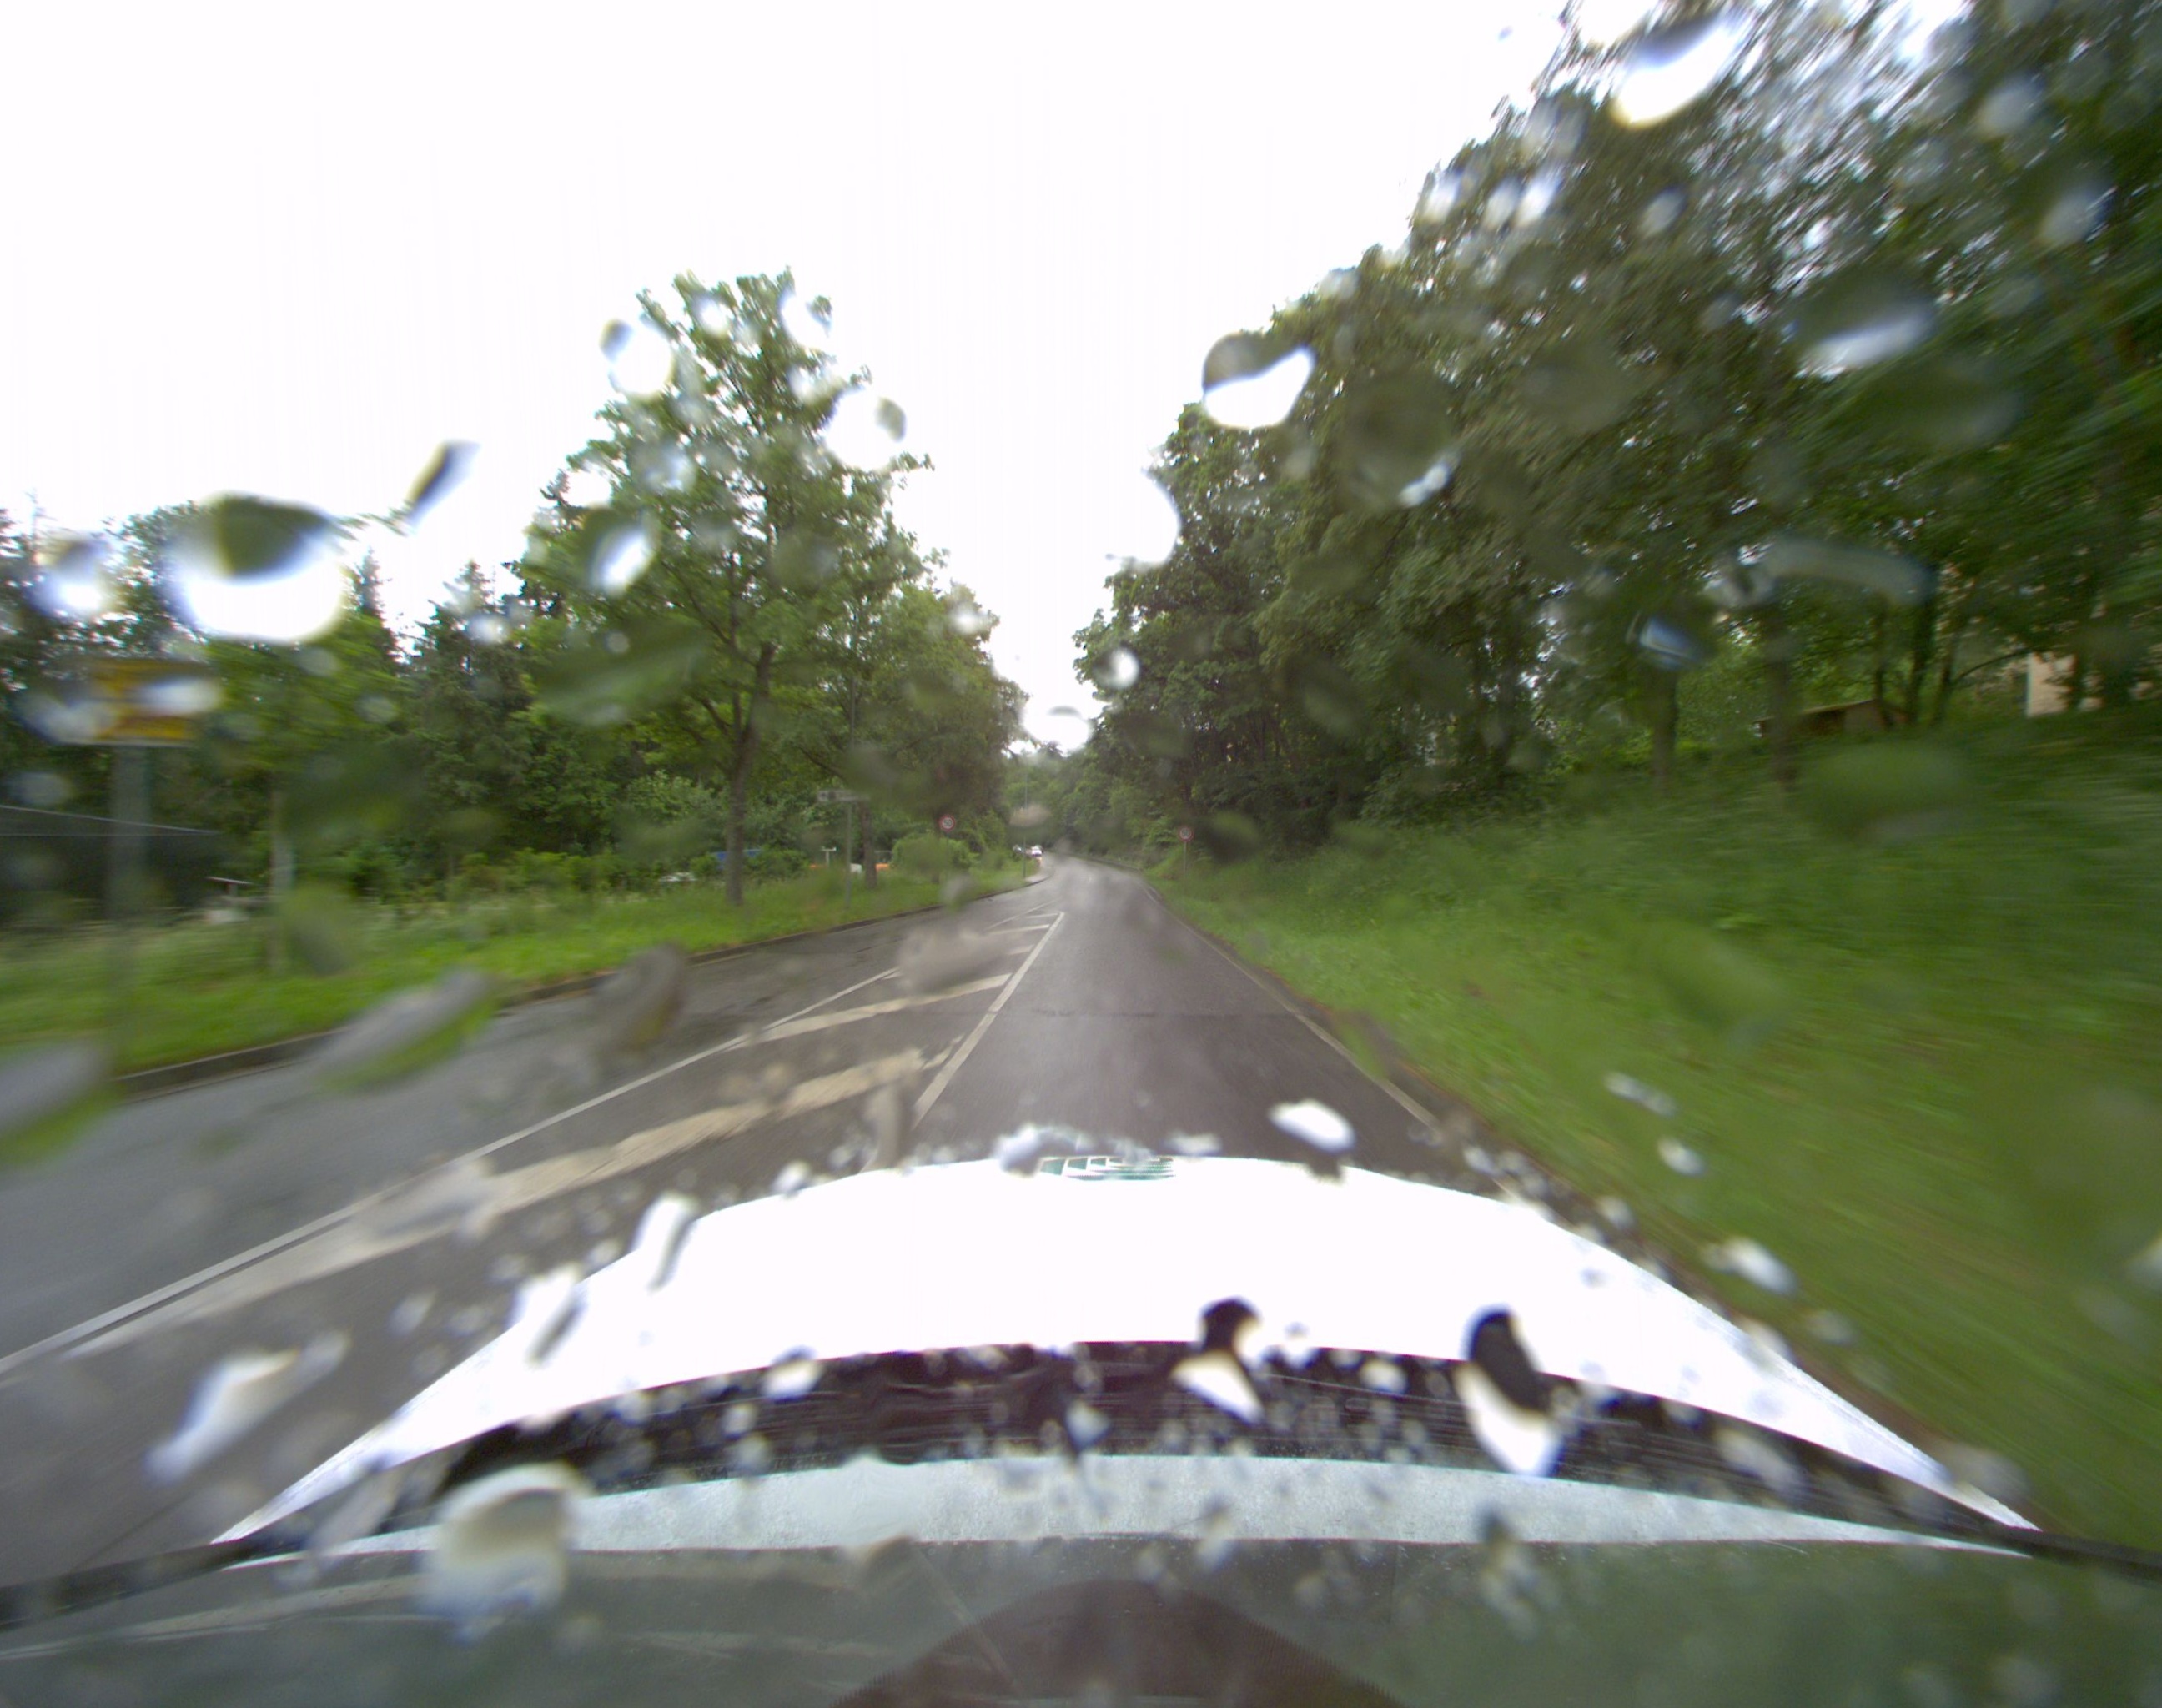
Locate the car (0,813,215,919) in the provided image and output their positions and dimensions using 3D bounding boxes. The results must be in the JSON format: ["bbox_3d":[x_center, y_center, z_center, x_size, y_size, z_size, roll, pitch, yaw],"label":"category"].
[{"bbox_3d":[-23.717,0.340,18.673,1.899,1.917,5.221,0,-9,-1],"label":"car"}]

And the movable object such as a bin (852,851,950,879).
[{"bbox_3d":[-12.713,0.761,58.383,1.828,1.908,7.957,-1,-1,32],"label":"movable object such as a bin"}]

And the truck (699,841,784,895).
[{"bbox_3d":[-16.637,0.609,40.219,1.988,2.458,5.221,1,0,-1],"label":"truck"}]

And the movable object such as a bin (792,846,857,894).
[{"bbox_3d":[-16.132,0.994,51.481,1.978,2.861,4.017,1,-1,16],"label":"movable object such as a bin"}]

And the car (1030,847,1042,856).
[{"bbox_3d":[-8.545,-0.478,154.916,1.815,1.648,4.115,-1,-1,-11],"label":"car"}]

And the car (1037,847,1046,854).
[{"bbox_3d":[-8.258,-0.683,170.863,1.731,1.510,3.999,-1,0,-1],"label":"car"}]

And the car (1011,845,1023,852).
[{"bbox_3d":[-13.639,-1.239,173.652,1.817,1.434,3.979,-1,-1,-15],"label":"car"}]
